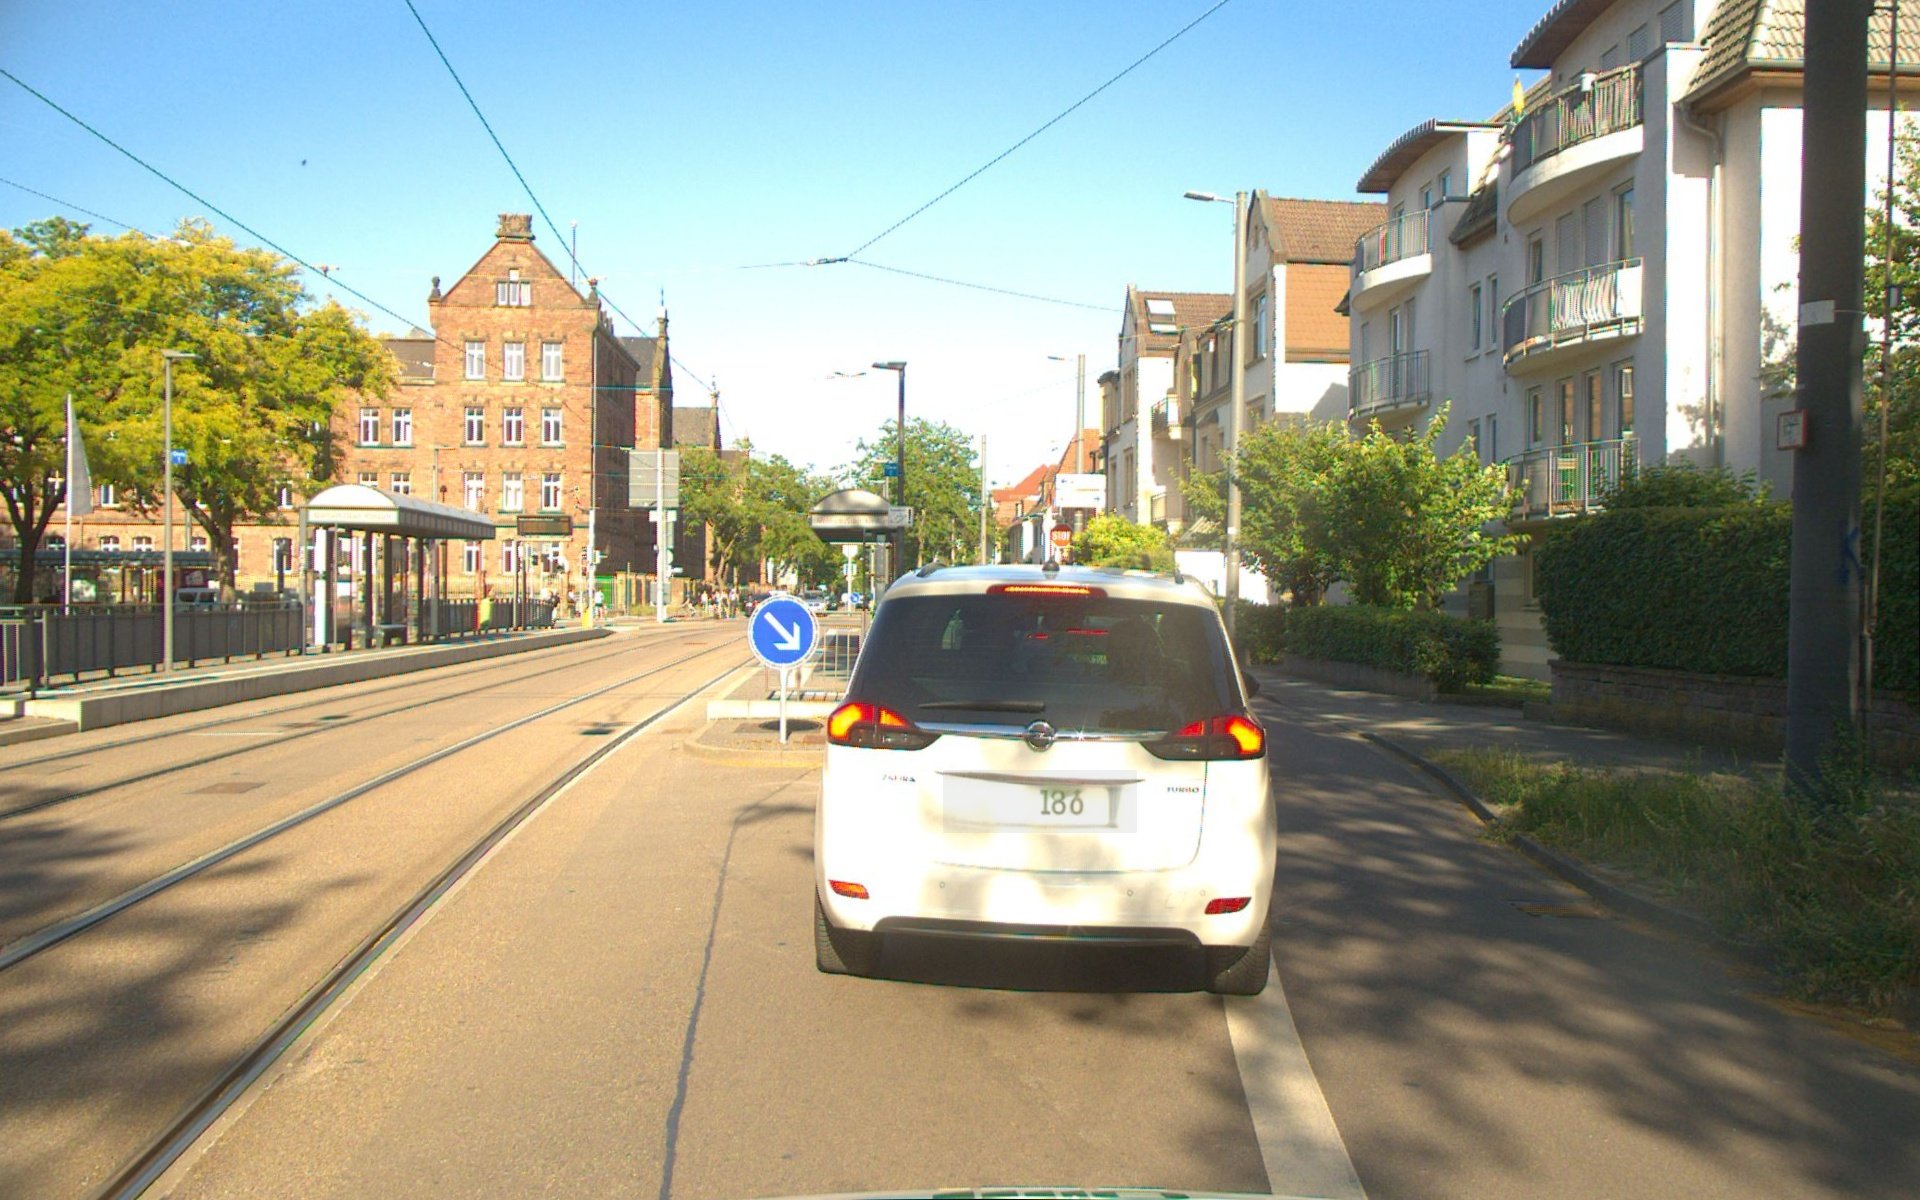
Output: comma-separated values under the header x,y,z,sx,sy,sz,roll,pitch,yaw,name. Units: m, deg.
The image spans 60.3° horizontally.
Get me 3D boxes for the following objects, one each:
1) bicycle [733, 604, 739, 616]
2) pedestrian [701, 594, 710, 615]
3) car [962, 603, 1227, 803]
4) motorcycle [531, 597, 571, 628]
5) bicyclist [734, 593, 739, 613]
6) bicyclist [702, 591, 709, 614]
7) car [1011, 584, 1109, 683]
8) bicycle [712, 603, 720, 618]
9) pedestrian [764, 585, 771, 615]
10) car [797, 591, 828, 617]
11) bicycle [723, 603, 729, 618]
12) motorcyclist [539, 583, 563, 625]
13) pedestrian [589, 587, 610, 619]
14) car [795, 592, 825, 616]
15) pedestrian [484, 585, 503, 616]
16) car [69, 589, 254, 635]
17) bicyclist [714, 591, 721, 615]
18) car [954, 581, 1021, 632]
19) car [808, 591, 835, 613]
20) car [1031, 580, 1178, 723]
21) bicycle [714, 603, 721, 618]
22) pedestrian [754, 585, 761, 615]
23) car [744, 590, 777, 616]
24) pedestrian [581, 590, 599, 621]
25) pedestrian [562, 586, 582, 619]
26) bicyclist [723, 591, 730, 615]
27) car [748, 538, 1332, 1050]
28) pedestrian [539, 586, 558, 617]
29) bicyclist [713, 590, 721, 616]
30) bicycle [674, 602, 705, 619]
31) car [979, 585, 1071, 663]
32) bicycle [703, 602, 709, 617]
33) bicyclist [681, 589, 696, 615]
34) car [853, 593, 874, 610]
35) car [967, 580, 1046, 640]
x,y,z,sx,sy,sz,roll,pitch,yaw,name
-15.065,0.671,111.425,0.337,0.737,0.996,1,0,-4,bicycle
-21.261,0.355,138.213,0.720,1.744,0.753,1,-1,-6,pedestrian
1.026,0.749,13.984,1.912,1.422,4.001,0,0,1,car
-16.293,0.486,65.874,0.598,1.219,2.077,0,0,16,motorcycle
-15.062,0.198,111.422,0.352,1.326,0.397,0,0,-4,bicyclist
-17.652,0.181,114.822,0.435,1.580,0.495,0,0,-4,bicyclist
1.709,0.551,29.271,1.603,1.629,3.855,0,0,1,car
-15.165,0.650,102.839,0.337,0.966,1.159,1,0,-4,bicycle
-13.047,0.016,112.053,0.435,2.049,0.495,0,0,-4,pedestrian
-9.549,0.244,107.159,1.955,1.657,3.996,0,0,-5,car
-15.396,0.671,108.917,0.337,0.966,0.996,1,0,-4,bicycle
-16.285,0.147,65.896,0.600,1.650,0.845,0,0,16,motorcyclist
-19.314,0.151,88.663,0.877,1.713,1.029,1,0,-1,pedestrian
-10.354,0.260,114.253,1.955,1.657,3.996,0,0,-5,car
-24.815,0.030,87.972,0.916,1.616,0.802,1,-1,-14,pedestrian
-35.729,0.523,74.190,6.810,1.954,2.991,0,0,-2,car
-15.577,0.182,106.323,0.435,1.580,0.495,0,0,-4,bicyclist
0.825,0.192,51.767,1.953,1.529,3.999,0,0,-1,car
-10.944,0.141,130.482,1.953,1.657,3.998,0,0,-3,car
1.736,0.586,20.842,1.603,1.629,3.855,0,0,1,car
-15.614,0.657,106.365,0.337,0.966,0.996,1,0,-4,bicycle
-13.649,0.004,111.722,0.435,2.049,0.495,0,0,-4,pedestrian
-12.859,0.194,106.886,1.955,1.657,3.996,0,0,-5,car
-21.347,0.315,95.333,0.719,1.744,0.706,1,-1,22,pedestrian
-20.678,0.132,88.229,0.825,1.721,1.029,1,0,-1,pedestrian
-15.386,0.197,108.910,0.435,1.580,0.495,0,0,-4,bicyclist
0.452,0.648,7.596,1.951,1.673,3.996,1,0,6,car
-22.023,0.081,88.606,0.786,1.616,0.934,1,0,-3,pedestrian
-15.156,0.175,103.047,0.435,1.580,0.742,0,0,-4,bicyclist
-15.331,0.610,93.712,1.636,0.969,0.529,0,0,-2,bicycle
1.375,0.493,36.190,1.793,1.607,4.009,0,0,-1,car
-17.658,0.657,114.858,0.337,0.966,0.996,1,0,-4,bicycle
-15.382,0.129,93.712,0.743,1.455,0.515,1,-1,-2,bicyclist
-9.191,0.134,157.391,1.954,1.657,3.997,0,0,-4,car
1.196,0.259,44.311,1.953,1.529,3.999,0,0,-1,car
